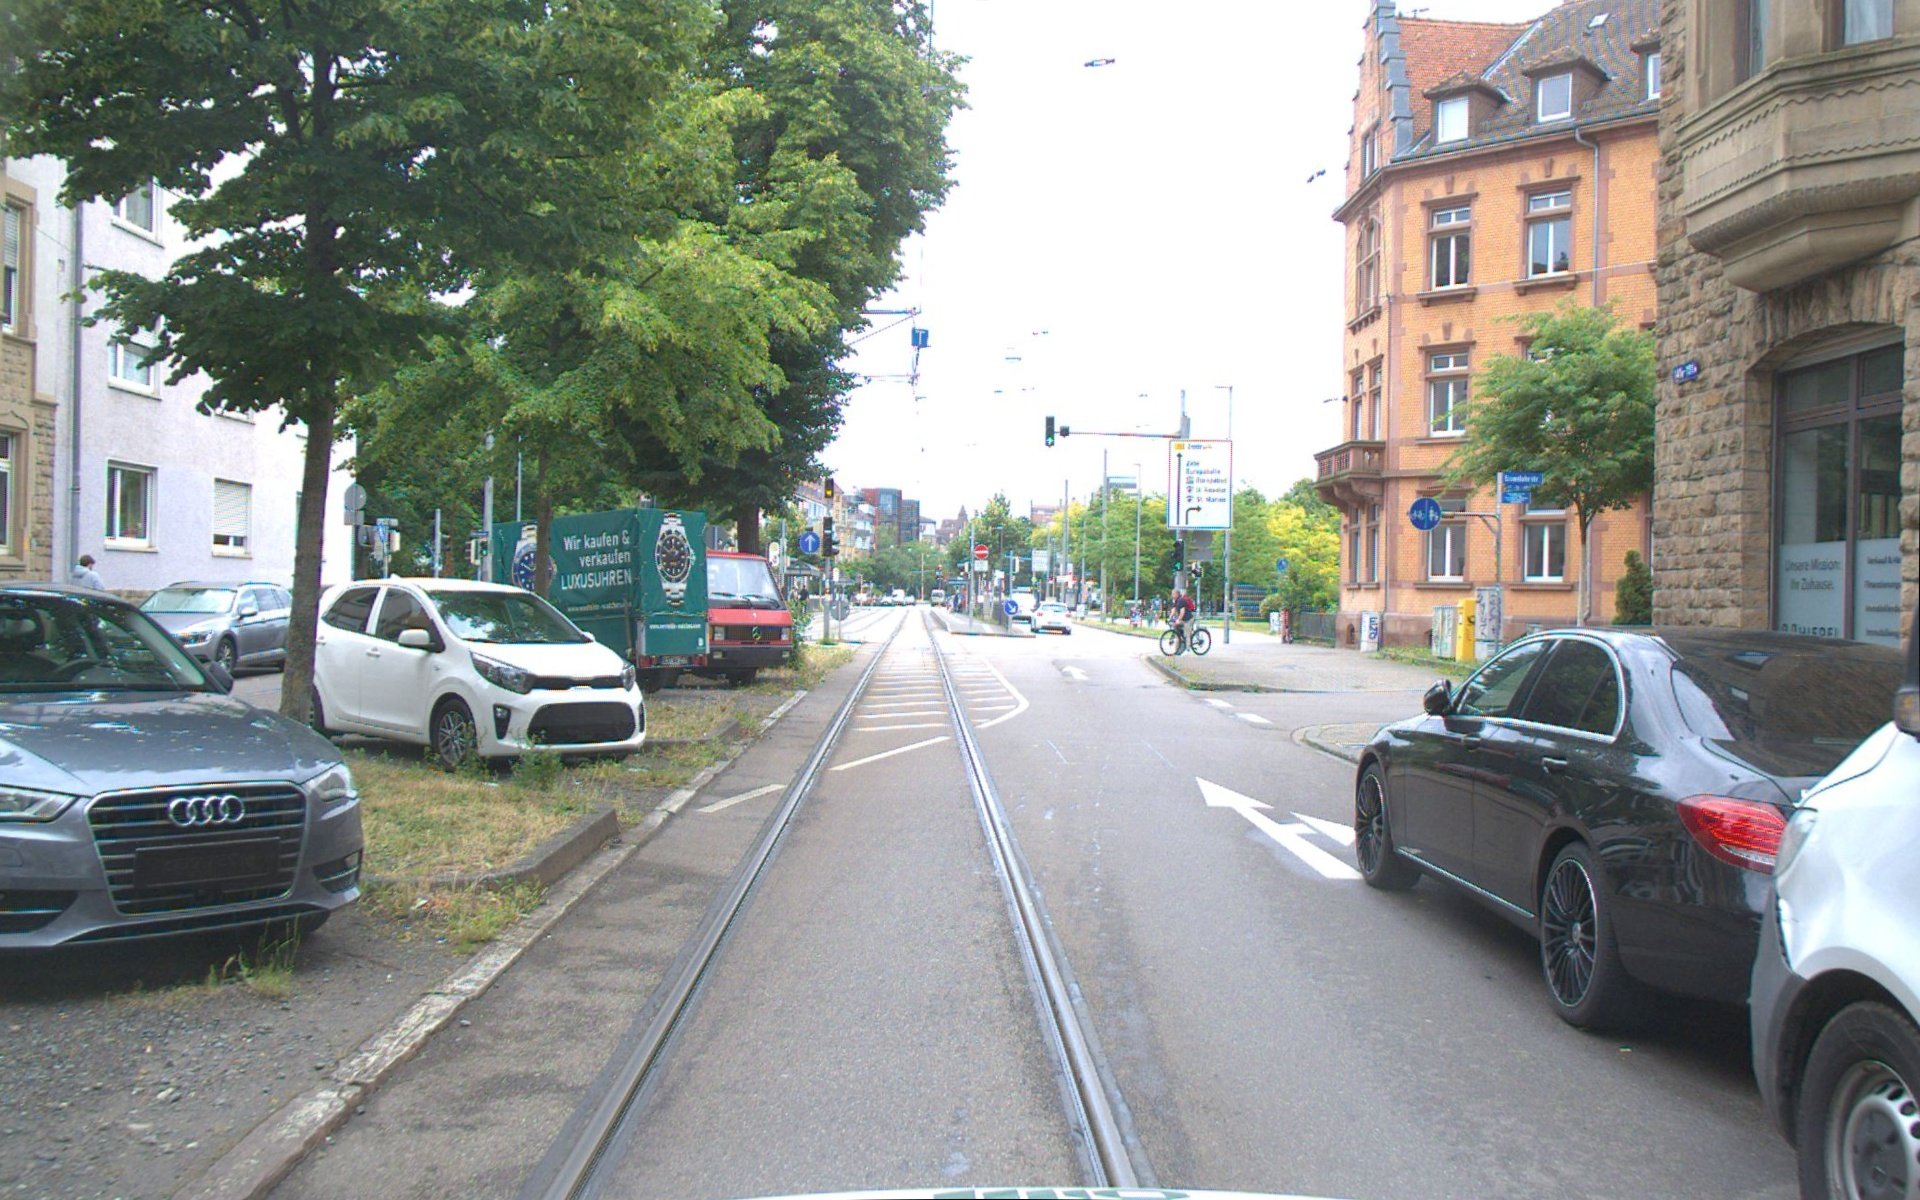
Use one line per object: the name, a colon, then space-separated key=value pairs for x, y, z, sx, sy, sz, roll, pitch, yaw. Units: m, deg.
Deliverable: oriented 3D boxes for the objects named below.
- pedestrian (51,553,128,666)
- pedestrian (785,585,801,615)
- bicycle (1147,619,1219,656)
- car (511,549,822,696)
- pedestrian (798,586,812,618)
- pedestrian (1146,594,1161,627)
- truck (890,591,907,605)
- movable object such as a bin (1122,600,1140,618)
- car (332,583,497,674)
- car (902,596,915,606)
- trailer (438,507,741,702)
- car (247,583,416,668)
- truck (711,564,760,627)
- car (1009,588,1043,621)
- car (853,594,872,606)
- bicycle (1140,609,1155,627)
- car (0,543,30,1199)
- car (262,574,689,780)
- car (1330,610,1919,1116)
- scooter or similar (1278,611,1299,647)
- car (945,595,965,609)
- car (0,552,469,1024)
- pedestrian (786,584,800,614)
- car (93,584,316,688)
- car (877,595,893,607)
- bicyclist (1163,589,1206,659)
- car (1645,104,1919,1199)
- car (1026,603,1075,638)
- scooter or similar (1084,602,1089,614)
pedestrian: x=-14.181 y=0.152 z=26.958 sx=0.781 sy=1.797 sz=0.900 roll=1 pitch=0 yaw=-3
pedestrian: x=-9.191 y=0.000 z=90.798 sx=0.663 sy=1.652 sz=0.634 roll=0 pitch=0 yaw=16
bicycle: x=5.957 y=1.012 z=44.204 sx=1.845 sy=0.940 sz=0.787 roll=2 pitch=0 yaw=-34
car: x=-4.463 y=0.277 z=24.801 sx=4.674 sy=2.009 sz=1.951 roll=1 pitch=0 yaw=37
pedestrian: x=-8.475 y=0.121 z=90.284 sx=0.687 sy=1.745 sz=0.697 roll=1 pitch=0 yaw=-10
pedestrian: x=11.130 y=0.586 z=95.123 sx=0.725 sy=1.902 sz=0.682 roll=1 pitch=0 yaw=-4
truck: x=-9.008 y=-0.299 z=243.084 sx=1.750 sy=2.068 sz=5.398 roll=1 pitch=0 yaw=5
movable object such as a bin: x=13.385 y=0.701 z=129.822 sx=1.256 sy=1.414 sz=1.159 roll=1 pitch=-1 yaw=-1
car: x=-9.149 y=0.465 z=28.039 sx=1.611 sy=1.407 sz=3.881 roll=1 pitch=0 yaw=-2
car: x=-8.125 y=0.206 z=261.065 sx=1.733 sy=1.519 sz=3.889 roll=1 pitch=0 yaw=5
trailer: x=-4.933 y=0.033 z=21.984 sx=3.593 sy=2.385 sz=1.926 roll=1 pitch=0 yaw=32
car: x=-11.887 y=0.453 z=31.632 sx=1.602 sy=1.468 sz=4.760 roll=1 pitch=0 yaw=-3
truck: x=-12.075 y=-0.225 z=89.383 sx=2.142 sy=3.212 sz=7.325 roll=1 pitch=0 yaw=-4
car: x=4.131 y=0.254 z=104.245 sx=1.746 sy=1.997 sz=4.380 roll=1 pitch=0 yaw=-2
car: x=-12.157 y=0.021 z=206.476 sx=1.733 sy=1.519 sz=3.889 roll=1 pitch=0 yaw=5
bicycle: x=10.800 y=1.011 z=95.240 sx=0.641 sy=1.020 sz=1.778 roll=1 pitch=0 yaw=-1
car: x=-4.163 y=0.577 z=3.829 sx=4.598 sy=1.460 sz=1.890 roll=1 pitch=0 yaw=38
car: x=-4.167 y=0.551 z=13.973 sx=3.793 sy=1.488 sz=1.680 roll=1 pitch=0 yaw=41
car: x=3.162 y=0.829 z=7.498 sx=1.787 sy=1.475 sz=5.006 roll=2 pitch=0 yaw=0
scooter or similar: x=10.849 y=0.949 z=54.598 sx=0.368 sy=1.161 sz=1.198 roll=1 pitch=0 yaw=-4
car: x=-0.535 y=0.255 z=188.135 sx=1.732 sy=1.519 sz=3.889 roll=1 pitch=0 yaw=7
car: x=-4.127 y=0.571 z=7.053 sx=4.261 sy=1.460 sz=1.888 roll=1 pitch=-1 yaw=41
pedestrian: x=-9.489 y=-0.046 z=93.945 sx=0.753 sy=1.689 sz=1.024 roll=1 pitch=0 yaw=-4
car: x=-11.785 y=0.514 z=26.146 sx=1.602 sy=1.468 sz=4.568 roll=1 pitch=0 yaw=-3
car: x=-10.429 y=0.134 z=229.836 sx=1.733 sy=1.519 sz=3.889 roll=1 pitch=0 yaw=5
bicyclist: x=5.966 y=0.630 z=43.980 sx=0.673 sy=1.826 sz=0.881 roll=2 pitch=0 yaw=-33
car: x=2.970 y=0.304 z=1.091 sx=1.972 sy=2.593 sz=7.015 roll=3 pitch=0 yaw=-1
car: x=4.172 y=0.925 z=76.466 sx=1.747 sy=1.498 sz=4.007 roll=1 pitch=0 yaw=-4
scooter or similar: x=11.959 y=0.765 z=156.006 sx=0.368 sy=1.161 sz=1.200 roll=1 pitch=0 yaw=9
